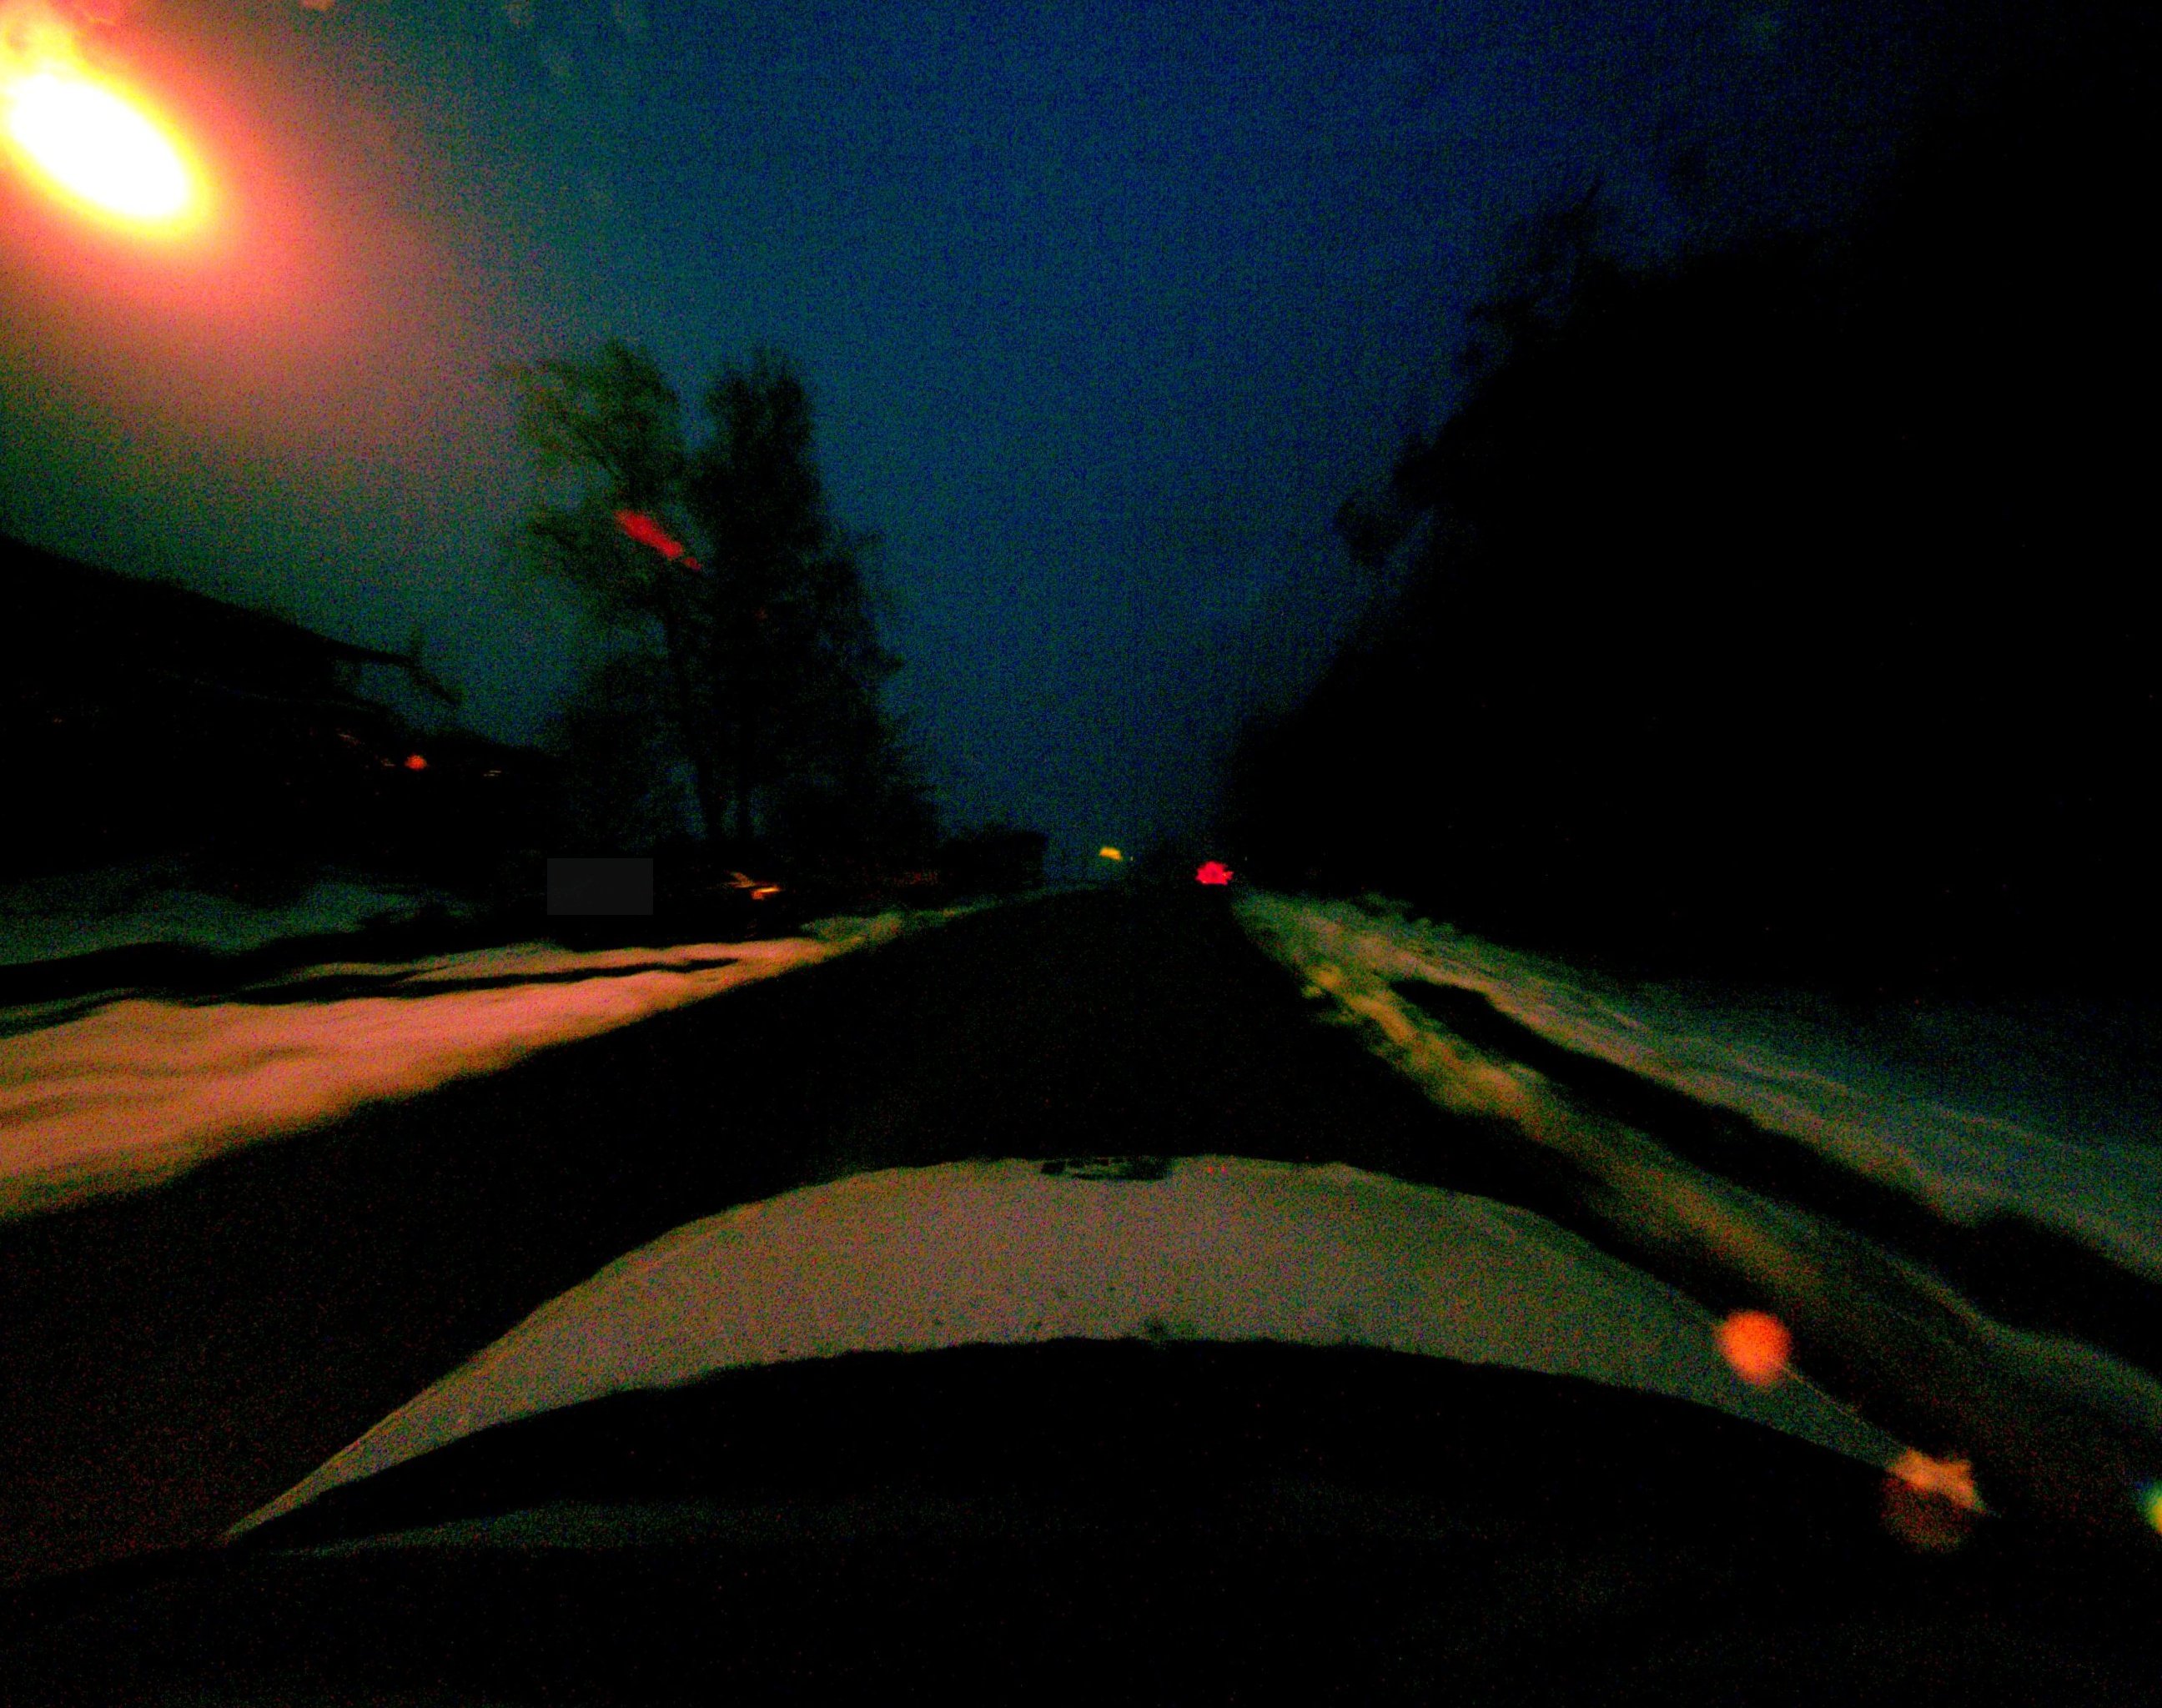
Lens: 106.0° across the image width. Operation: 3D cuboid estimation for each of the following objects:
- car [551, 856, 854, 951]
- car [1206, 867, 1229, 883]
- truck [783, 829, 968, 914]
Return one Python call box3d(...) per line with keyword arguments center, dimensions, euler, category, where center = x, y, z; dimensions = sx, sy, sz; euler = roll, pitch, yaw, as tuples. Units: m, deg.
box3d(center=(-7.273, 0.913, 16.086), dimensions=(4.872, 1.485, 2.123), euler=(-3, 0, -1), category="car")
box3d(center=(12.771, 1.954, 76.124), dimensions=(1.982, 1.420, 4.008), euler=(-1, -3, 8), category="car")
box3d(center=(-6.416, 0.527, 25.884), dimensions=(5.246, 2.302, 1.999), euler=(-3, 0, -1), category="truck")
